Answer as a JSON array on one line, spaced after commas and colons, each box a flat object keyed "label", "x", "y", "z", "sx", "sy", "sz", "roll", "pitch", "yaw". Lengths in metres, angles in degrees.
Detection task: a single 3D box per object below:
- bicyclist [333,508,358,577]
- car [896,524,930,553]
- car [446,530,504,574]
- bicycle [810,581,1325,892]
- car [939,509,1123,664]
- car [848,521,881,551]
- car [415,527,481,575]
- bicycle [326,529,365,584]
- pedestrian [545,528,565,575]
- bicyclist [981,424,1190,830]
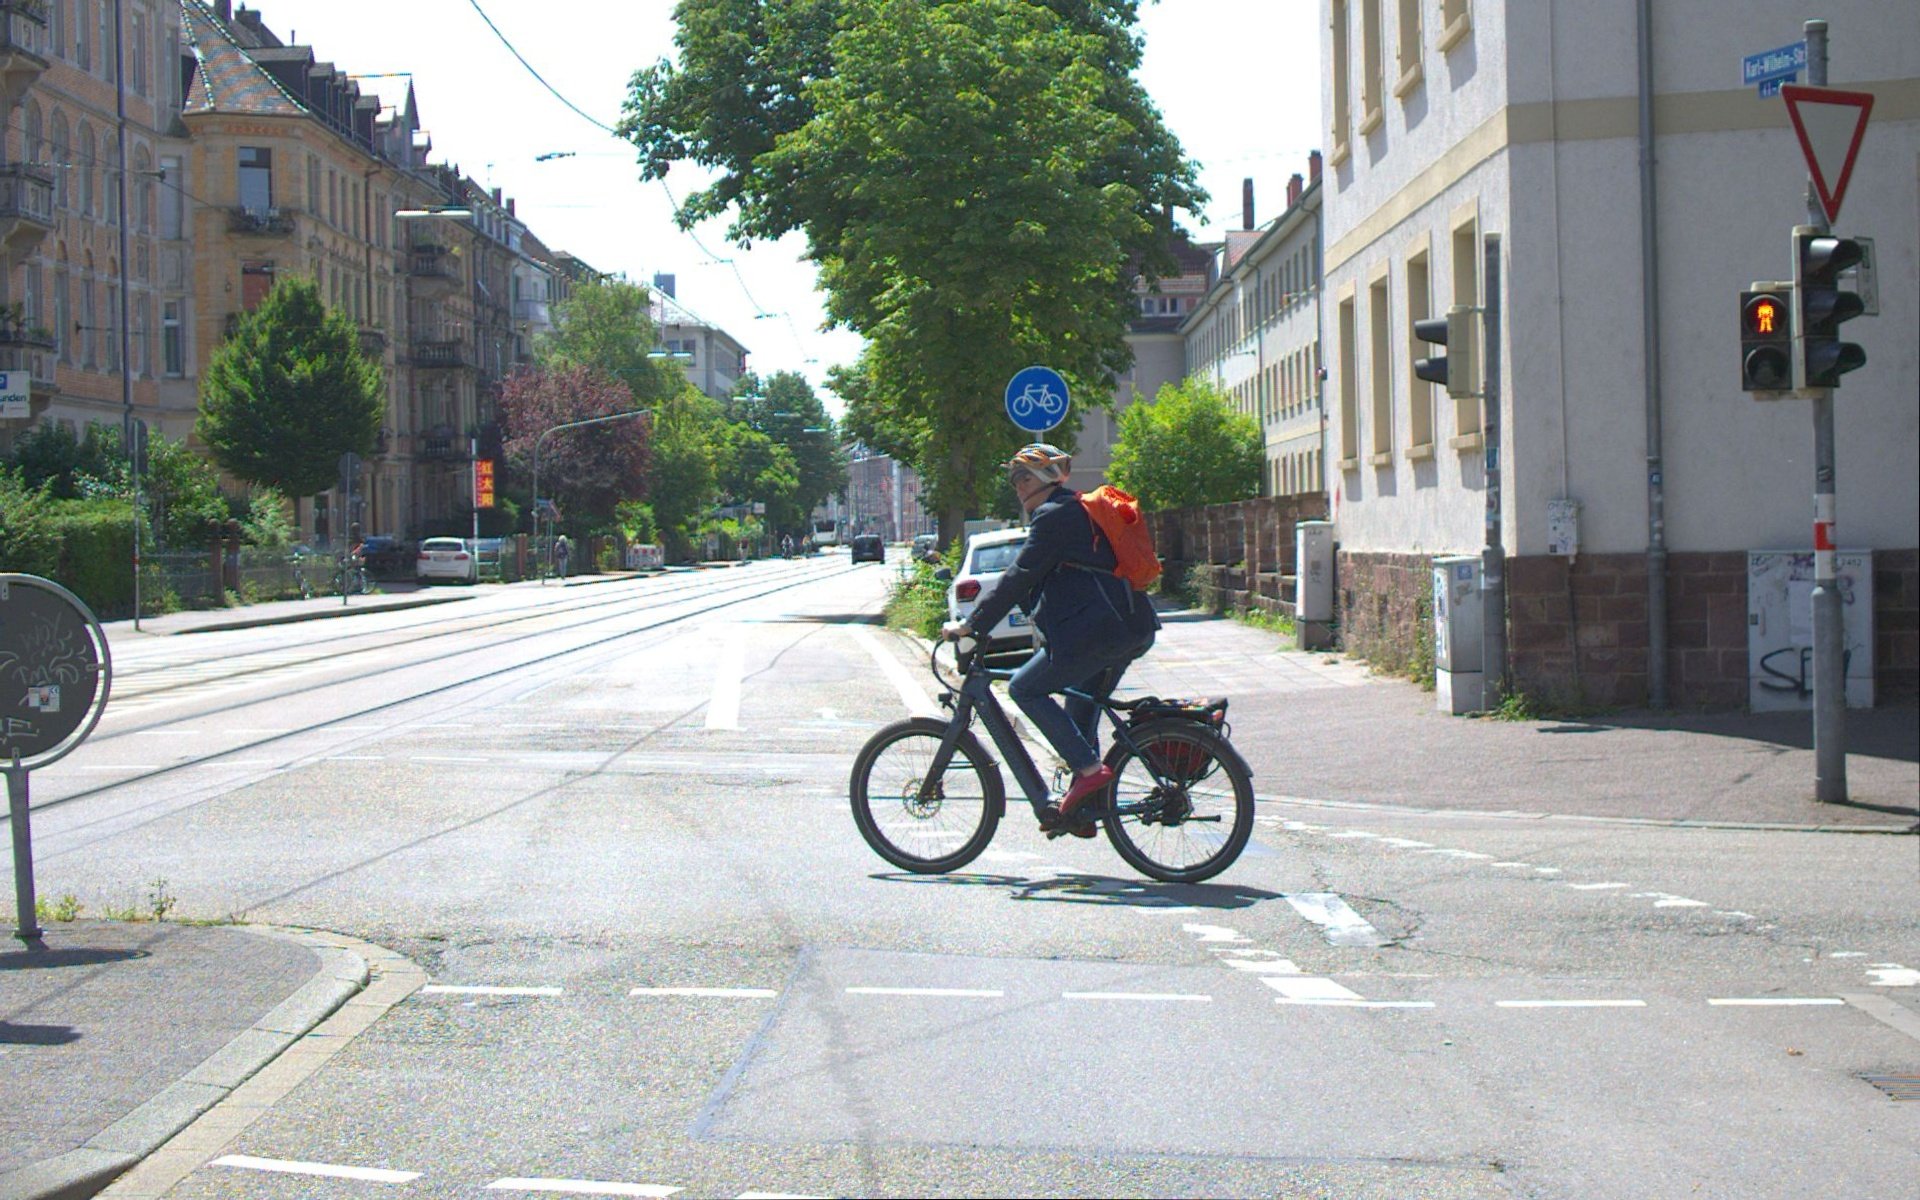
[{"label": "bicyclist", "x": -15.704, "y": -1.463, "z": 87.878, "sx": 0.542, "sy": 1.757, "sz": 0.498, "roll": 0, "pitch": 1, "yaw": -1}, {"label": "car", "x": -2.610, "y": -3.366, "z": 189.313, "sx": 1.747, "sy": 1.467, "sz": 3.938, "roll": -4, "pitch": 1, "yaw": -1}, {"label": "car", "x": -17.461, "y": -1.731, "z": 123.860, "sx": 1.628, "sy": 1.467, "sz": 3.564, "roll": -4, "pitch": 1, "yaw": -3}, {"label": "bicycle", "x": 0.435, "y": 0.539, "z": 14.345, "sx": 2.083, "sy": 1.232, "sz": 0.580, "roll": 0, "pitch": 1, "yaw": 25}, {"label": "car", "x": 0.716, "y": -0.169, "z": 37.218, "sx": 1.747, "sy": 1.467, "sz": 3.938, "roll": -4, "pitch": 1, "yaw": -1}, {"label": "car", "x": -4.819, "y": -3.240, "z": 174.226, "sx": 1.525, "sy": 1.439, "sz": 3.365, "roll": -2, "pitch": 1, "yaw": 0}, {"label": "car", "x": -17.202, "y": -1.651, "z": 115.653, "sx": 1.684, "sy": 1.467, "sz": 3.939, "roll": -4, "pitch": 1, "yaw": -3}, {"label": "bicycle", "x": -15.723, "y": -1.123, "z": 87.953, "sx": 0.577, "sy": 1.383, "sz": 2.501, "roll": 0, "pitch": 1, "yaw": -1}, {"label": "pedestrian", "x": -14.859, "y": -1.783, "z": 126.182, "sx": 0.678, "sy": 1.721, "sz": 0.677, "roll": 0, "pitch": 1, "yaw": -1}, {"label": "bicyclist", "x": 0.527, "y": 0.106, "z": 14.311, "sx": 0.694, "sy": 1.640, "sz": 0.579, "roll": 0, "pitch": 1, "yaw": 25}]
